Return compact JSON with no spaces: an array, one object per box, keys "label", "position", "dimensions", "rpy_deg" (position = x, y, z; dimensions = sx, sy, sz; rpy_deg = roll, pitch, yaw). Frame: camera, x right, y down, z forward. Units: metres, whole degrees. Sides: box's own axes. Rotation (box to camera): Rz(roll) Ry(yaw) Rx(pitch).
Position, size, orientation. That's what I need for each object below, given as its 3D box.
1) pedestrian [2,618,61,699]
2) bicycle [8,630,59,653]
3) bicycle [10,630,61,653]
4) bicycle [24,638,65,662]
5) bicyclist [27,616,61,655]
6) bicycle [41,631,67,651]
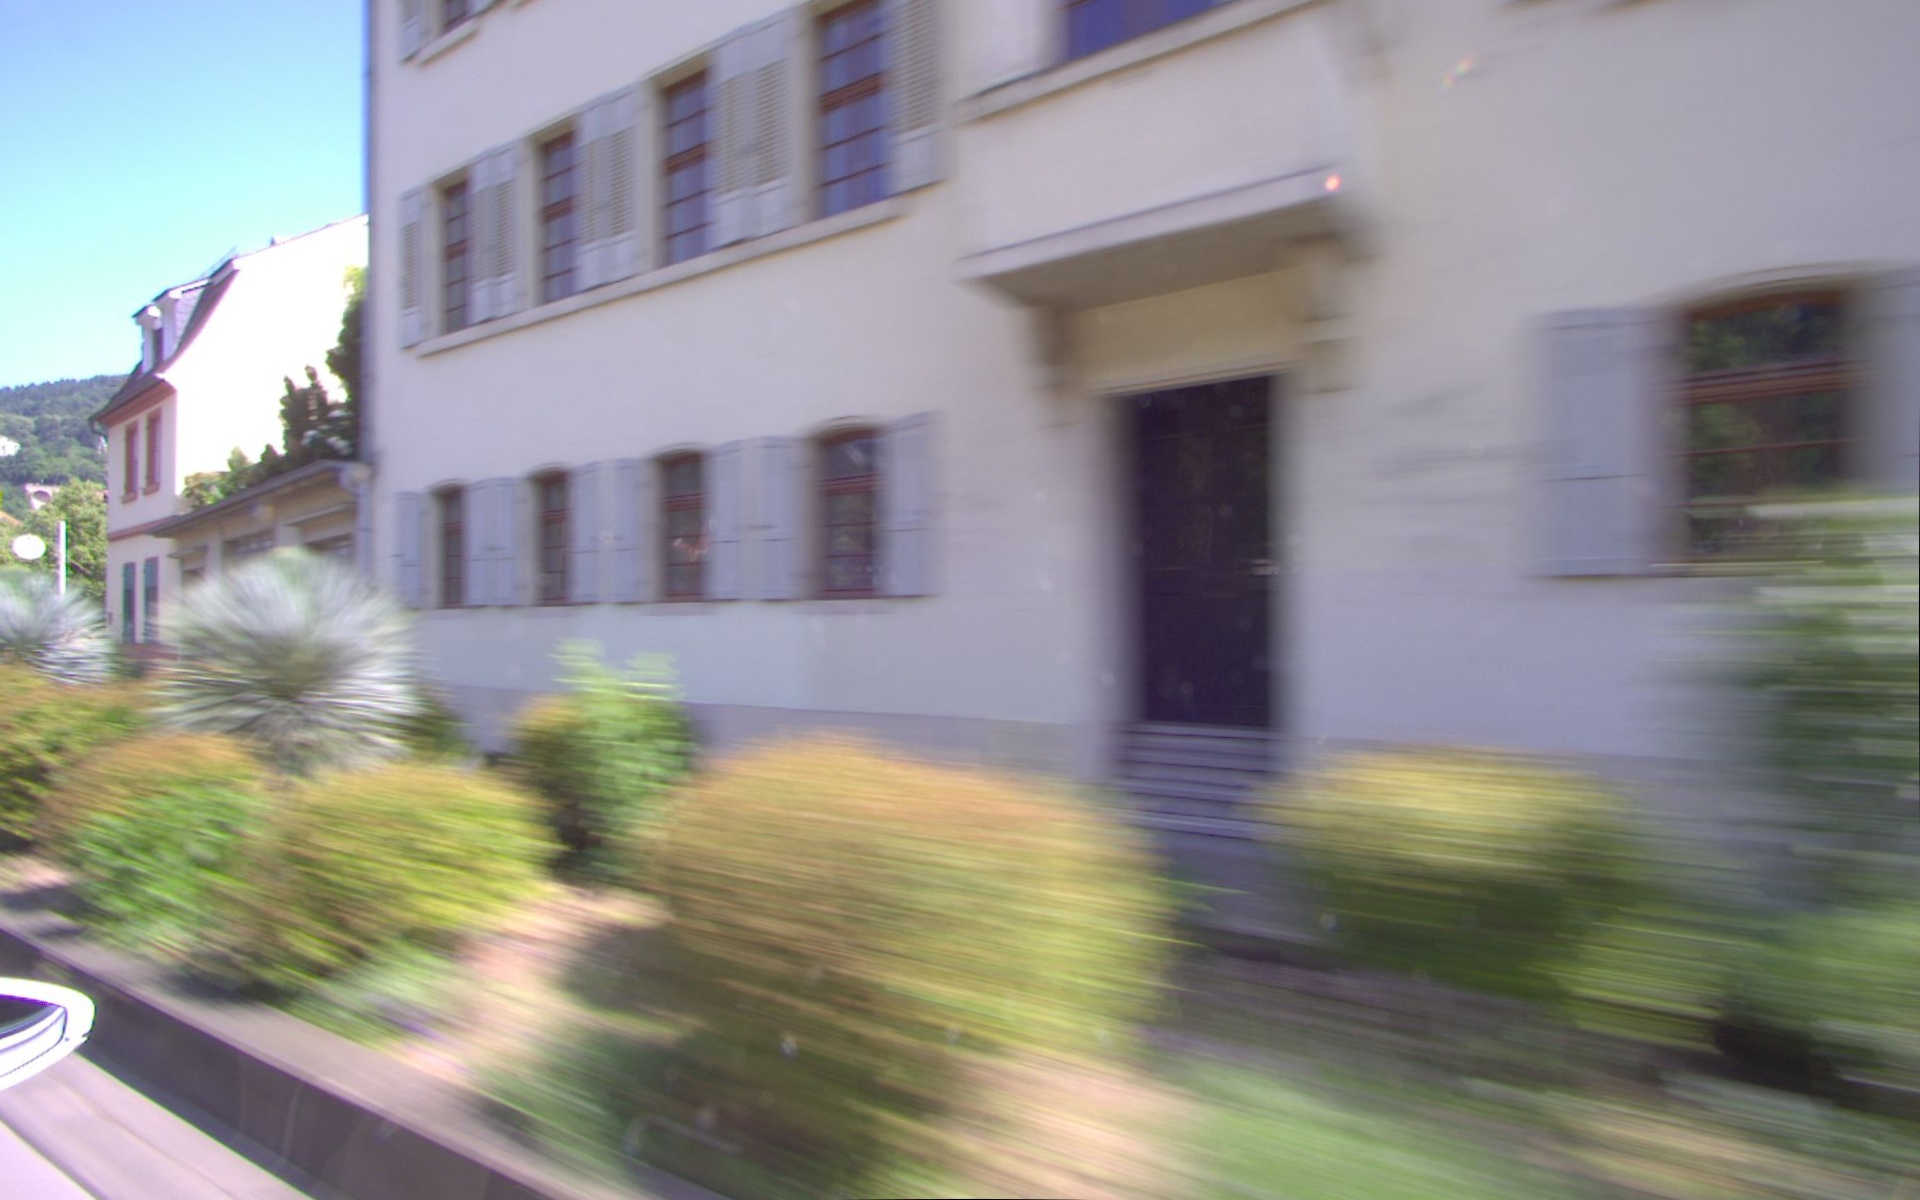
[{"label":"pedestrian","position":[-19.077,1.193,20.576],"dimensions":[0.687,1.615,0.759],"rpy_deg":[0,-1,37]},{"label":"bicycle","position":[-51.744,2.308,55.965],"dimensions":[1.980,1.213,0.518],"rpy_deg":[4,-3,-34]},{"label":"bicycle","position":[-52.035,2.340,56.379],"dimensions":[1.993,1.213,0.518],"rpy_deg":[3,-2,-34]},{"label":"bicycle","position":[-37.787,2.043,41.332],"dimensions":[1.756,0.976,0.749],"rpy_deg":[-1,-2,31]},{"label":"bicyclist","position":[-37.912,1.458,41.440],"dimensions":[1.073,1.604,0.765],"rpy_deg":[-1,-1,31]},{"label":"bicycle","position":[-52.267,2.378,57.773],"dimensions":[0.587,1.081,2.058],"rpy_deg":[0,-2,-26]}]
